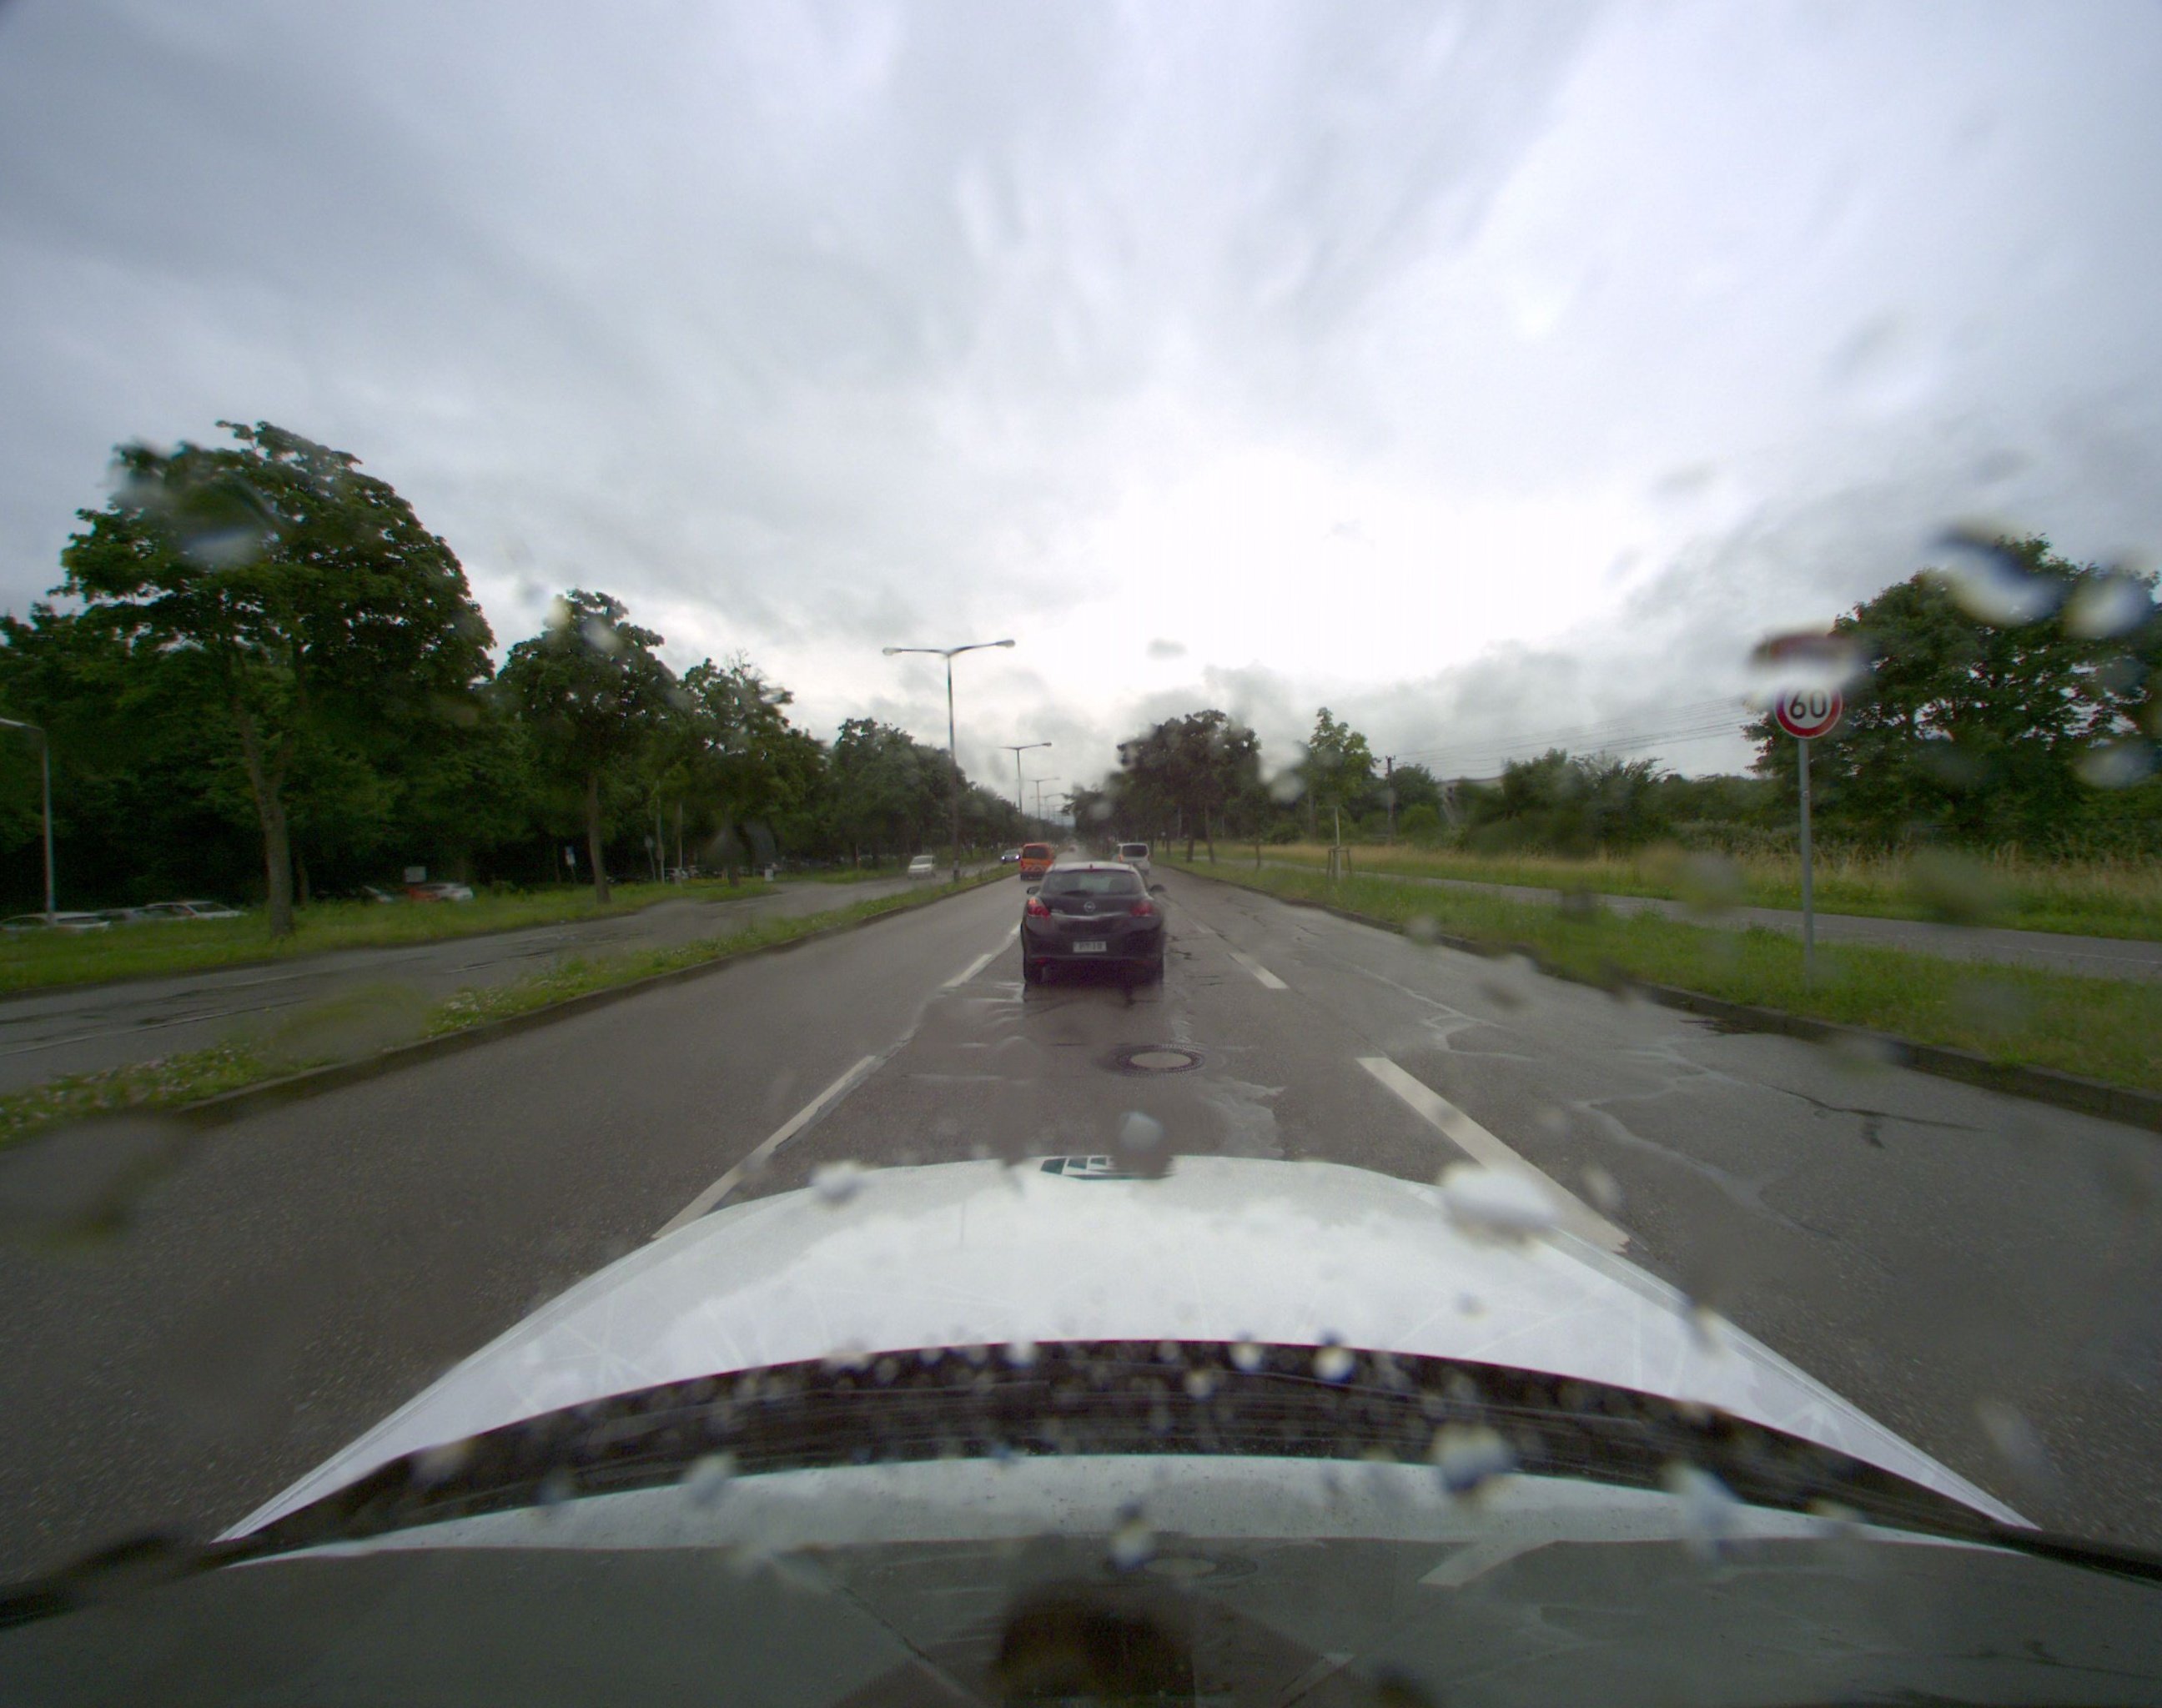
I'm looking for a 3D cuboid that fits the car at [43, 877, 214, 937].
[{"bbox_3d":[-36.844,2.025,31.600,3.979,2.013,1.997,-2,0,-4],"label":"car"}]

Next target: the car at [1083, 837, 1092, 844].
[{"bbox_3d":[1.760,-3.682,223.544,2.507,2.052,5.294,1,0,0],"label":"car"}]

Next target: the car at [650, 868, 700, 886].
[{"bbox_3d":[-38.177,2.144,76.661,3.828,1.452,1.523,-2,0,-4],"label":"car"}]

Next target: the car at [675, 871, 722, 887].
[{"bbox_3d":[-38.275,2.484,81.555,3.828,1.452,1.523,-2,0,-4],"label":"car"}]

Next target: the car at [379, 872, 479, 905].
[{"bbox_3d":[-36.922,1.944,46.204,3.979,1.640,1.909,-2,0,-4],"label":"car"}]

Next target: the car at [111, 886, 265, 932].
[{"bbox_3d":[-37.066,2.243,33.898,3.979,1.618,1.997,-2,0,-4],"label":"car"}]

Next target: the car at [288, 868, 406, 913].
[{"bbox_3d":[-37.058,1.801,41.198,3.979,2.013,1.997,-2,0,-4],"label":"car"}]

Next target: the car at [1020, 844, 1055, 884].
[{"bbox_3d":[-2.290,0.535,43.717,1.730,2.019,4.846,0,0,-1],"label":"car"}]

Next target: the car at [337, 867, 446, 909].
[{"bbox_3d":[-36.978,1.807,43.763,3.979,2.013,1.997,-2,0,-4],"label":"car"}]

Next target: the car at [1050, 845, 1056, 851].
[{"bbox_3d":[-8.387,-1.763,245.201,1.714,1.529,3.810,-2,0,1],"label":"car"}]

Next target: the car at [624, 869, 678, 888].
[{"bbox_3d":[-37.739,2.103,71.540,3.828,1.452,1.523,-2,0,-4],"label":"car"}]

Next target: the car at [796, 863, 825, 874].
[{"bbox_3d":[-38.721,2.073,116.702,3.841,1.452,1.517,-2,0,-14],"label":"car"}]

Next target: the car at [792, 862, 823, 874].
[{"bbox_3d":[-37.375,1.947,111.536,3.841,1.452,1.517,-2,0,-14],"label":"car"}]

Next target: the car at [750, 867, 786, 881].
[{"bbox_3d":[-38.125,2.458,99.285,3.828,1.452,1.523,-2,0,-4],"label":"car"}]

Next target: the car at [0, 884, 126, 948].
[{"bbox_3d":[-37.247,2.208,28.947,3.979,2.013,1.997,-2,0,-4],"label":"car"}]

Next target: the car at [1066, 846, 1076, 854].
[{"bbox_3d":[-2.341,-0.959,192.670,1.985,1.879,4.004,-1,0,4],"label":"car"}]

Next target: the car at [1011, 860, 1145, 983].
[{"bbox_3d":[0.092,0.771,10.897,1.456,1.329,3.761,-1,-1,4],"label":"car"}]

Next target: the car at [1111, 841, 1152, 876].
[{"bbox_3d":[3.024,0.260,49.591,2.053,1.974,4.605,-1,0,-2],"label":"car"}]

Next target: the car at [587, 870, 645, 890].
[{"bbox_3d":[-37.850,2.082,66.342,3.726,1.426,1.486,-2,0,-4],"label":"car"}]

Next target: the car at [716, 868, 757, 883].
[{"bbox_3d":[-37.852,2.312,89.487,3.828,1.452,1.523,-2,0,-4],"label":"car"}]

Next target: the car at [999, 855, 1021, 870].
[{"bbox_3d":[-7.285,0.864,83.665,1.820,1.450,3.810,-2,0,1],"label":"car"}]

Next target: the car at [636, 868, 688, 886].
[{"bbox_3d":[-38.021,2.107,73.983,3.828,1.452,1.523,-2,0,-4],"label":"car"}]

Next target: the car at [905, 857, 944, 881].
[{"bbox_3d":[-10.632,1.024,55.588,1.676,1.554,4.003,-1,0,3],"label":"car"}]
